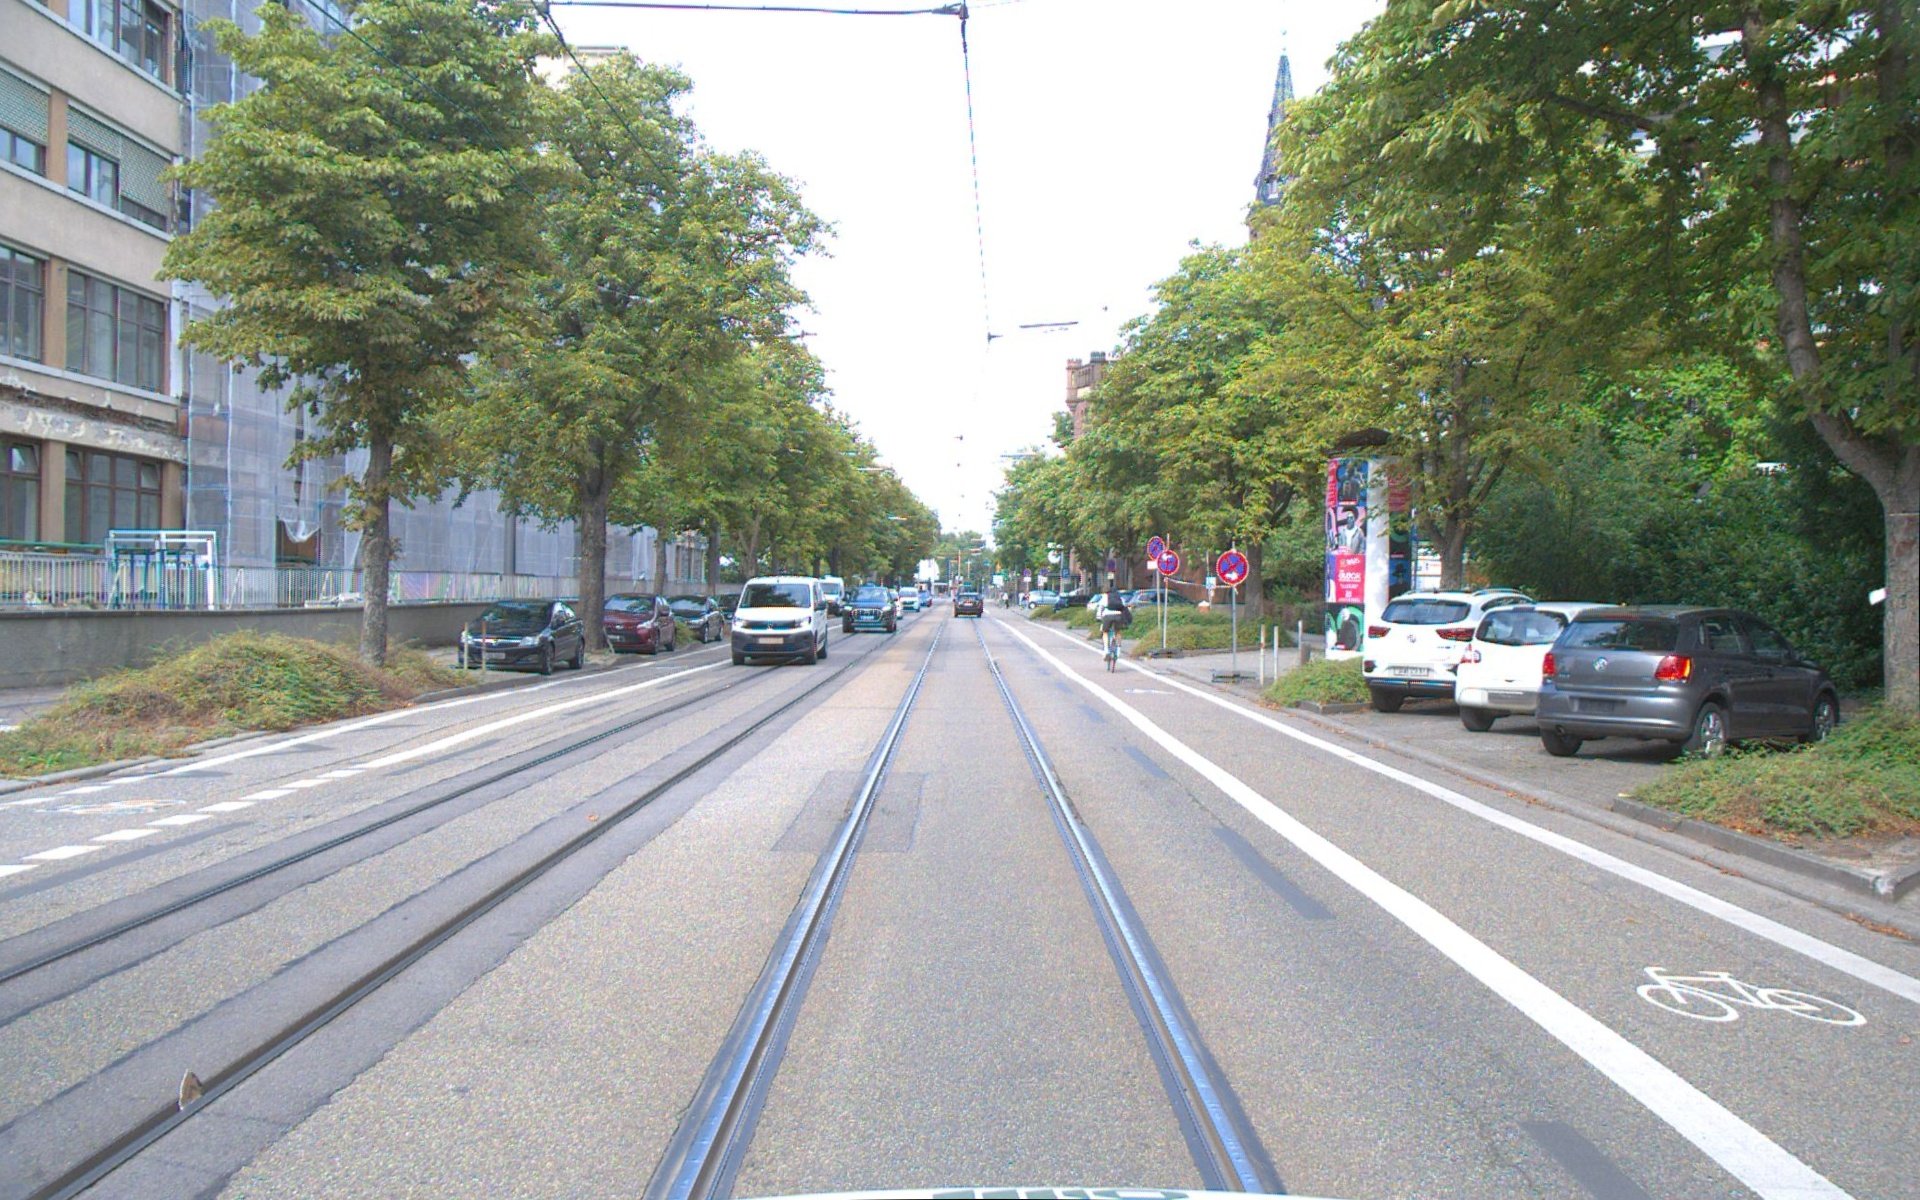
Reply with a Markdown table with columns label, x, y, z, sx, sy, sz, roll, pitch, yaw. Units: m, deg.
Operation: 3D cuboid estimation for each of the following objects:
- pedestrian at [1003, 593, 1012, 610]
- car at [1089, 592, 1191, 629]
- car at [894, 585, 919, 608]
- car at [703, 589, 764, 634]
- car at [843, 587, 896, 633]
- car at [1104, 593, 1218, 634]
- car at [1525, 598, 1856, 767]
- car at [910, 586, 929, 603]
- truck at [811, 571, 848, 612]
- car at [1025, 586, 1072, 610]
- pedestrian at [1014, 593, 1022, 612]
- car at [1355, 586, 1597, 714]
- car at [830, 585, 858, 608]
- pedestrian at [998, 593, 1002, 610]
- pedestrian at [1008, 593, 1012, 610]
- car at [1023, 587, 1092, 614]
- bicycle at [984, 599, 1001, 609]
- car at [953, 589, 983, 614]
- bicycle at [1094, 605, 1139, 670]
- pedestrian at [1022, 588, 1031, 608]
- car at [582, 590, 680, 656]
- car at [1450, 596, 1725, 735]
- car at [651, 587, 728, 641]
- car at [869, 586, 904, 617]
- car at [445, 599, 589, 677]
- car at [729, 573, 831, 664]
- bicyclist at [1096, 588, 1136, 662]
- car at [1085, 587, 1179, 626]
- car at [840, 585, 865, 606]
| label | x | y | z | sx | sy | sz | roll | pitch | yaw |
| --- | --- | --- | --- | --- | --- | --- | --- | --- | --- |
| pedestrian | 4.818 | 0.114 | 166.997 | 0.711 | 1.674 | 0.767 | 2 | 0 | 10 |
| car | 7.389 | 0.415 | 68.047 | 3.907 | 1.449 | 1.884 | 1 | 0 | -3 |
| car | -3.930 | -0.275 | 123.026 | 1.766 | 1.650 | 4.484 | 0 | 0 | -1 |
| car | -8.500 | 0.406 | 62.352 | 1.766 | 1.611 | 4.030 | 0 | 0 | -1 |
| car | -3.339 | 0.340 | 61.420 | 1.766 | 1.650 | 4.484 | 0 | 0 | -1 |
| car | 7.394 | 0.482 | 61.146 | 3.907 | 1.449 | 1.884 | 1 | 0 | -3 |
| car | 7.282 | 0.744 | 16.383 | 3.501 | 1.468 | 1.601 | 1 | 0 | -39 |
| car | -3.924 | -0.508 | 162.003 | 1.766 | 1.650 | 4.484 | 0 | 0 | -1 |
| truck | -8.355 | -0.549 | 105.997 | 2.029 | 2.513 | 4.898 | 0 | 0 | -1 |
| car | 7.746 | -0.204 | 145.268 | 3.907 | 1.944 | 1.999 | 2 | 0 | -3 |
| pedestrian | 5.191 | 0.243 | 147.948 | 0.711 | 1.674 | 0.767 | 2 | 0 | 1 |
| car | 7.068 | 0.643 | 22.532 | 3.414 | 1.600 | 1.538 | 1 | 0 | -39 |
| car | -8.332 | -0.223 | 118.598 | 1.766 | 1.611 | 4.030 | 0 | 0 | -1 |
| pedestrian | 4.941 | 0.191 | 204.324 | 0.507 | 2.049 | 0.480 | 1 | 0 | 3 |
| pedestrian | 6.199 | 0.219 | 205.040 | 0.507 | 2.049 | 0.480 | 1 | 0 | 3 |
| car | 5.827 | 0.024 | 99.072 | 3.907 | 1.534 | 1.884 | 1 | 0 | -3 |
| bicycle | 3.270 | 0.396 | 167.232 | 1.684 | 1.009 | 0.659 | 2 | 0 | 8 |
| car | 0.494 | 0.078 | 102.439 | 1.757 | 1.448 | 3.999 | 1 | 0 | -1 |
| bicycle | 3.232 | 0.756 | 34.334 | 0.644 | 1.270 | 2.124 | 2 | 0 | -1 |
| pedestrian | 5.598 | -0.145 | 138.489 | 0.711 | 1.674 | 0.767 | 2 | 0 | 1 |
| car | -8.433 | 0.567 | 42.748 | 1.766 | 1.611 | 4.030 | 0 | 0 | -1 |
| car | 7.418 | 0.715 | 19.434 | 3.414 | 1.468 | 1.538 | 1 | 0 | -39 |
| car | -8.397 | 0.406 | 51.618 | 1.766 | 1.611 | 4.030 | 0 | 0 | -1 |
| car | -3.969 | 0.063 | 89.794 | 1.766 | 1.650 | 4.484 | 0 | 0 | -1 |
| car | -8.585 | 0.693 | 32.354 | 1.766 | 1.398 | 4.030 | 0 | 0 | -1 |
| car | -3.843 | 0.372 | 36.007 | 1.766 | 1.855 | 4.484 | 0 | 0 | -1 |
| bicyclist | 3.232 | 0.498 | 34.293 | 0.644 | 1.489 | 1.178 | 1 | 0 | -1 |
| car | 7.610 | 0.265 | 73.453 | 3.907 | 1.656 | 1.884 | 1 | 0 | -3 |
| car | -8.564 | -0.341 | 131.708 | 1.766 | 1.611 | 4.030 | 0 | 0 | -1 |
